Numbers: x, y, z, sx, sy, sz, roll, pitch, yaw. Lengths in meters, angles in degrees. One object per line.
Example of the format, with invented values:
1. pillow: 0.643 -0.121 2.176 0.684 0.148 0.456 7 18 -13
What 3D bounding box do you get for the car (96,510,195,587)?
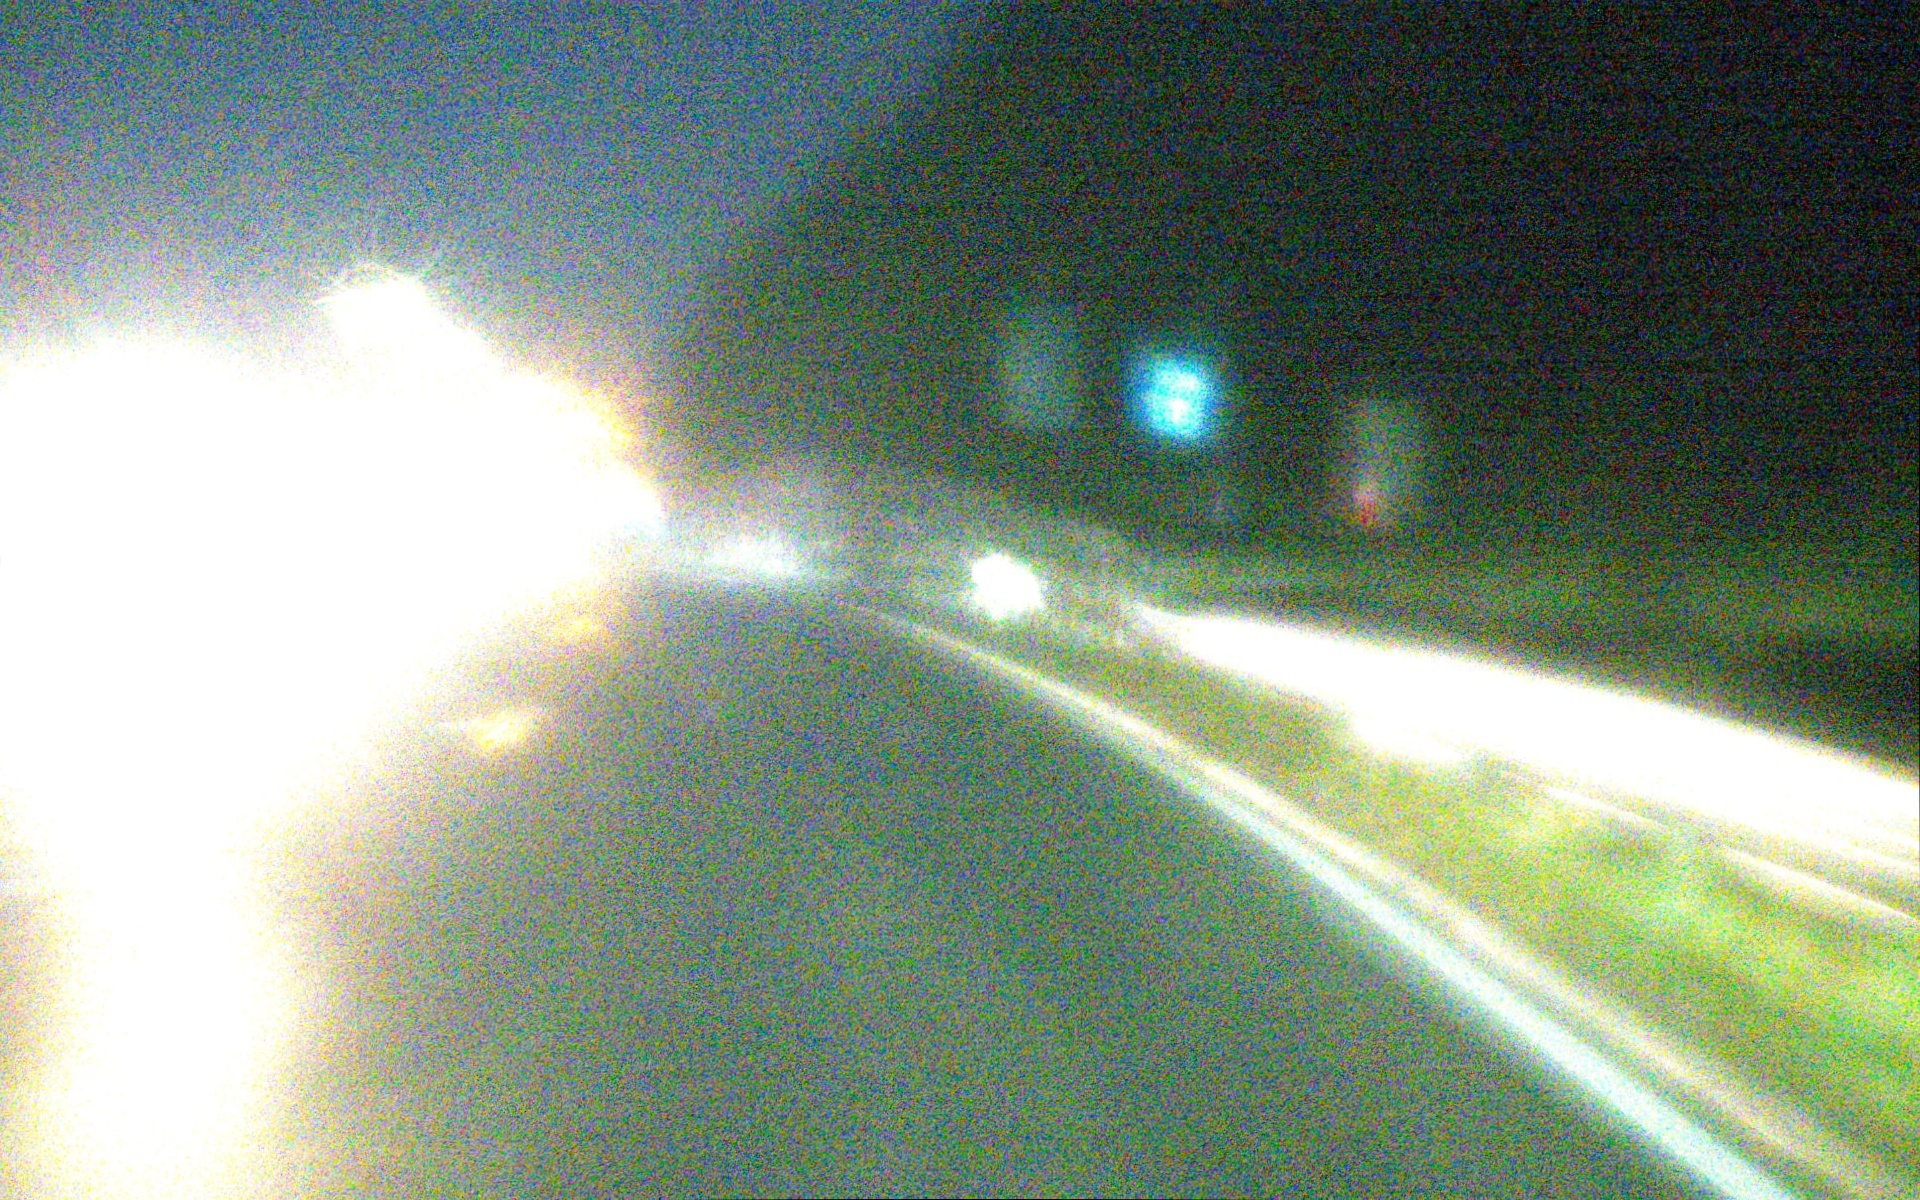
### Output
1. car: -17.571 -1.122 74.311 1.880 1.595 3.901 1 1 -10
